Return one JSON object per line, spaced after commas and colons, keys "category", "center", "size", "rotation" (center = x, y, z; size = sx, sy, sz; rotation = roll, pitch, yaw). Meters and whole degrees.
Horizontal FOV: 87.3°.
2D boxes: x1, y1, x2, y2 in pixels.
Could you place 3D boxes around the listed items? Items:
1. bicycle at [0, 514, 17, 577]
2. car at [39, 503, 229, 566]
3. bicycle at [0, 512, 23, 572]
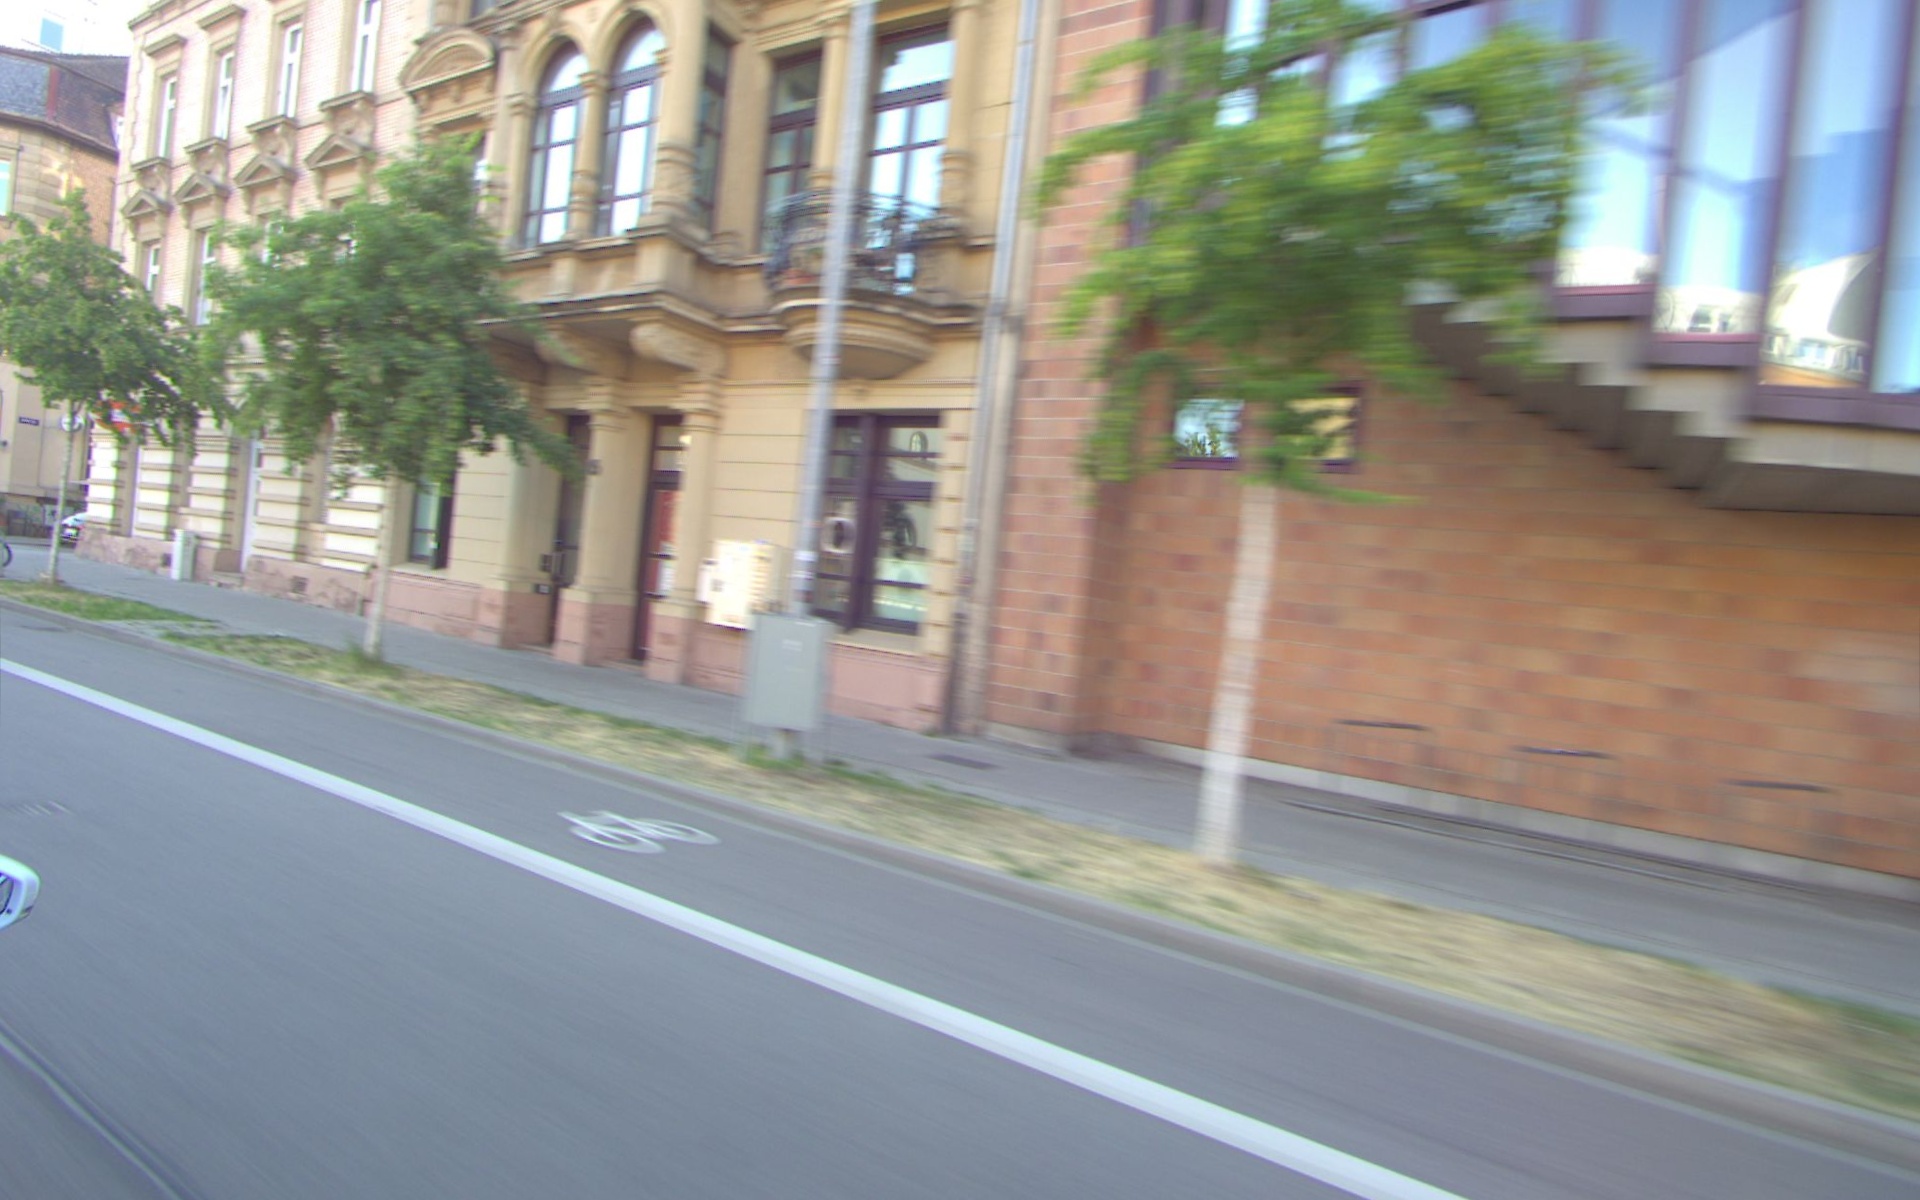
{"category": "bicycle", "center": [-17.588, -0.990, 17.325], "size": [0.652, 1.079, 1.827], "rotation": [8, 4, 26]}
{"category": "car", "center": [-24.791, -1.928, 30.371], "size": [1.588, 1.405, 4.153], "rotation": [5, 0, 20]}
{"category": "bicycle", "center": [-18.490, -1.117, 18.425], "size": [0.652, 1.079, 1.827], "rotation": [8, 4, 26]}
